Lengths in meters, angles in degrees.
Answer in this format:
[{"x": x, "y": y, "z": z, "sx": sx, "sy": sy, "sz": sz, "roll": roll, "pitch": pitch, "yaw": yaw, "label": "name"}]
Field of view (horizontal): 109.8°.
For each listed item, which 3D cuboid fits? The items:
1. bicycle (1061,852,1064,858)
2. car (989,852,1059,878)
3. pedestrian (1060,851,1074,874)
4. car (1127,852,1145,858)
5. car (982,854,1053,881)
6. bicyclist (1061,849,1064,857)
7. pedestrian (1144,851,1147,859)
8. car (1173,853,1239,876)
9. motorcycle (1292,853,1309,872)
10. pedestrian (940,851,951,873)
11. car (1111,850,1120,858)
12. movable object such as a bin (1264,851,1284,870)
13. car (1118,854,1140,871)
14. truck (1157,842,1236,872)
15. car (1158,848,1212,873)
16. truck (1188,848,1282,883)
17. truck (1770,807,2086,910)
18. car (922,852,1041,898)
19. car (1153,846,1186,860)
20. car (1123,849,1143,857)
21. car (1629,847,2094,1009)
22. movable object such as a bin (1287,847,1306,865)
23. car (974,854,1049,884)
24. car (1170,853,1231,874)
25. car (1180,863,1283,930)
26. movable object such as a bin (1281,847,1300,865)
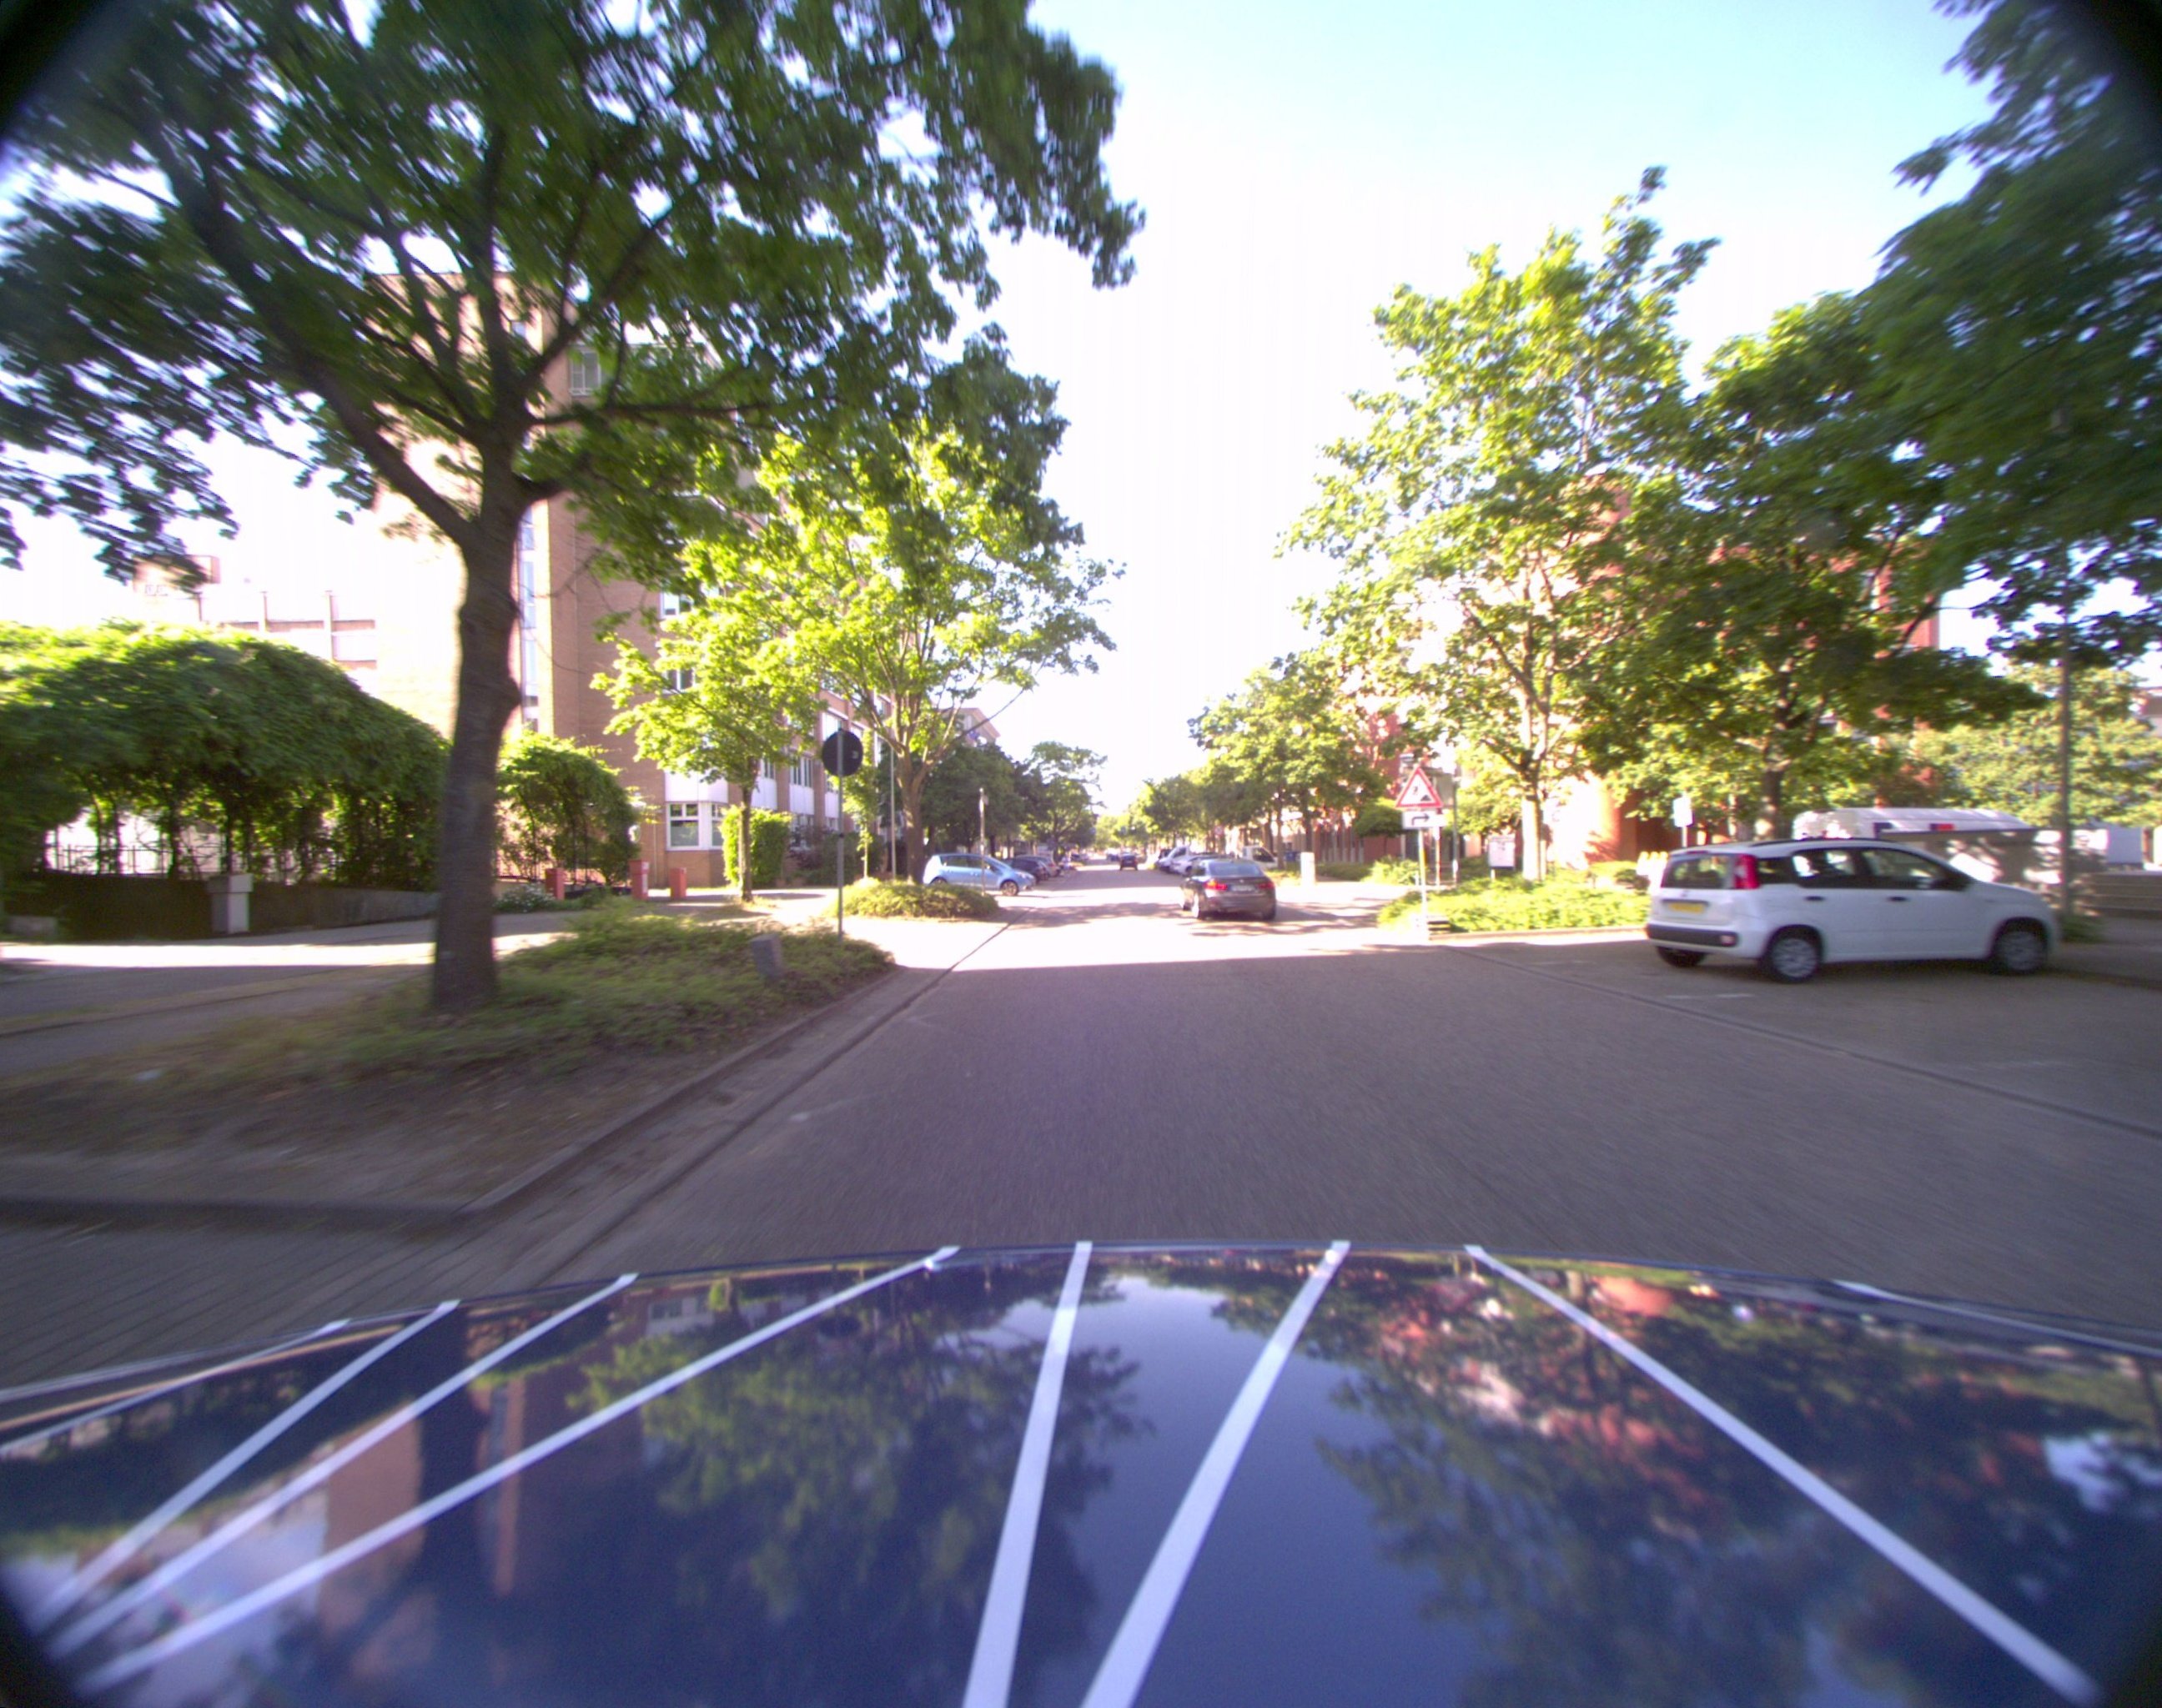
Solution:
[{"x": -3.651, "y": 0.191, "z": 150.816, "sx": 0.535, "sy": 1.072, "sz": 1.920, "roll": -1, "pitch": 0, "yaw": 2, "label": "bicycle"}, {"x": -3.622, "y": 0.683, "z": 48.551, "sx": 4.365, "sy": 1.588, "sz": 1.938, "roll": 0, "pitch": 0, "yaw": -5, "label": "car"}, {"x": -1.049, "y": 0.639, "z": 56.622, "sx": 0.921, "sy": 1.701, "sz": 0.697, "roll": 2, "pitch": 0, "yaw": -12, "label": "pedestrian"}, {"x": 12.459, "y": 0.206, "z": 172.699, "sx": 4.003, "sy": 1.411, "sz": 1.618, "roll": -2, "pitch": 1, "yaw": 1, "label": "car"}, {"x": -3.565, "y": 0.762, "z": 42.927, "sx": 3.810, "sy": 1.400, "sz": 1.702, "roll": 2, "pitch": 0, "yaw": 0, "label": "car"}, {"x": -3.662, "y": -0.200, "z": 150.813, "sx": 0.538, "sy": 1.627, "sz": 0.822, "roll": -1, "pitch": 1, "yaw": 3, "label": "bicyclist"}, {"x": 10.630, "y": 0.129, "z": 124.368, "sx": 0.432, "sy": 1.365, "sz": 0.418, "roll": -1, "pitch": 1, "yaw": 1, "label": "pedestrian"}, {"x": 9.289, "y": 0.782, "z": 56.713, "sx": 4.552, "sy": 1.433, "sz": 1.890, "roll": -2, "pitch": 0, "yaw": 0, "label": "car"}, {"x": 18.182, "y": 0.703, "z": 62.958, "sx": 0.716, "sy": 1.582, "sz": 2.109, "roll": 0, "pitch": 0, "yaw": 0, "label": "motorcycle"}, {"x": -9.330, "y": 0.545, "z": 52.285, "sx": 0.604, "sy": 1.512, "sz": 0.594, "roll": 0, "pitch": 1, "yaw": -1, "label": "pedestrian"}, {"x": 6.858, "y": 0.003, "z": 150.677, "sx": 1.648, "sy": 1.412, "sz": 4.000, "roll": -1, "pitch": 0, "yaw": 1, "label": "car"}, {"x": 18.703, "y": 0.615, "z": 73.566, "sx": 1.602, "sy": 1.786, "sz": 1.664, "roll": -1, "pitch": 0, "yaw": 3, "label": "movable object such as a bin"}, {"x": 4.928, "y": 0.860, "z": 78.537, "sx": 1.897, "sy": 1.674, "sz": 4.352, "roll": 0, "pitch": 0, "yaw": -1, "label": "car"}, {"x": 9.455, "y": 0.239, "z": 62.551, "sx": 6.247, "sy": 2.408, "sz": 2.187, "roll": 0, "pitch": 0, "yaw": 2, "label": "truck"}, {"x": 9.242, "y": 0.532, "z": 68.034, "sx": 4.493, "sy": 2.040, "sz": 2.000, "roll": -2, "pitch": 1, "yaw": -1, "label": "car"}, {"x": 8.688, "y": 0.628, "z": 43.148, "sx": 4.996, "sy": 1.948, "sz": 2.139, "roll": 0, "pitch": 0, "yaw": 3, "label": "truck"}, {"x": 23.703, "y": 0.121, "z": 21.506, "sx": 6.119, "sy": 2.689, "sz": 2.578, "roll": 0, "pitch": 1, "yaw": -1, "label": "truck"}, {"x": -3.863, "y": 0.791, "z": 30.123, "sx": 4.416, "sy": 1.609, "sz": 1.912, "roll": 2, "pitch": 0, "yaw": 1, "label": "car"}, {"x": 10.587, "y": -0.148, "z": 91.031, "sx": 3.763, "sy": 1.444, "sz": 1.754, "roll": -3, "pitch": 0, "yaw": 1, "label": "car"}, {"x": 13.349, "y": -0.308, "z": 195.291, "sx": 5.317, "sy": 1.876, "sz": 2.000, "roll": 0, "pitch": 1, "yaw": 3, "label": "car"}, {"x": 8.614, "y": 0.753, "z": 8.633, "sx": 3.589, "sy": 1.541, "sz": 1.636, "roll": -1, "pitch": 3, "yaw": -1, "label": "car"}, {"x": 19.080, "y": 0.211, "z": 67.183, "sx": 1.149, "sy": 1.554, "sz": 1.243, "roll": -1, "pitch": 0, "yaw": -11, "label": "movable object such as a bin"}, {"x": -3.703, "y": 0.790, "z": 41.048, "sx": 3.856, "sy": 1.474, "sz": 1.825, "roll": 2, "pitch": 0, "yaw": 1, "label": "car"}, {"x": 9.323, "y": 0.757, "z": 59.560, "sx": 4.438, "sy": 1.478, "sz": 2.000, "roll": -2, "pitch": 0, "yaw": 0, "label": "car"}, {"x": 3.530, "y": 0.937, "z": 18.569, "sx": 1.817, "sy": 1.407, "sz": 4.108, "roll": 0, "pitch": 0, "yaw": 2, "label": "car"}, {"x": 18.849, "y": 0.196, "z": 68.478, "sx": 1.149, "sy": 1.610, "sz": 1.440, "roll": -1, "pitch": 0, "yaw": -11, "label": "movable object such as a bin"}]
